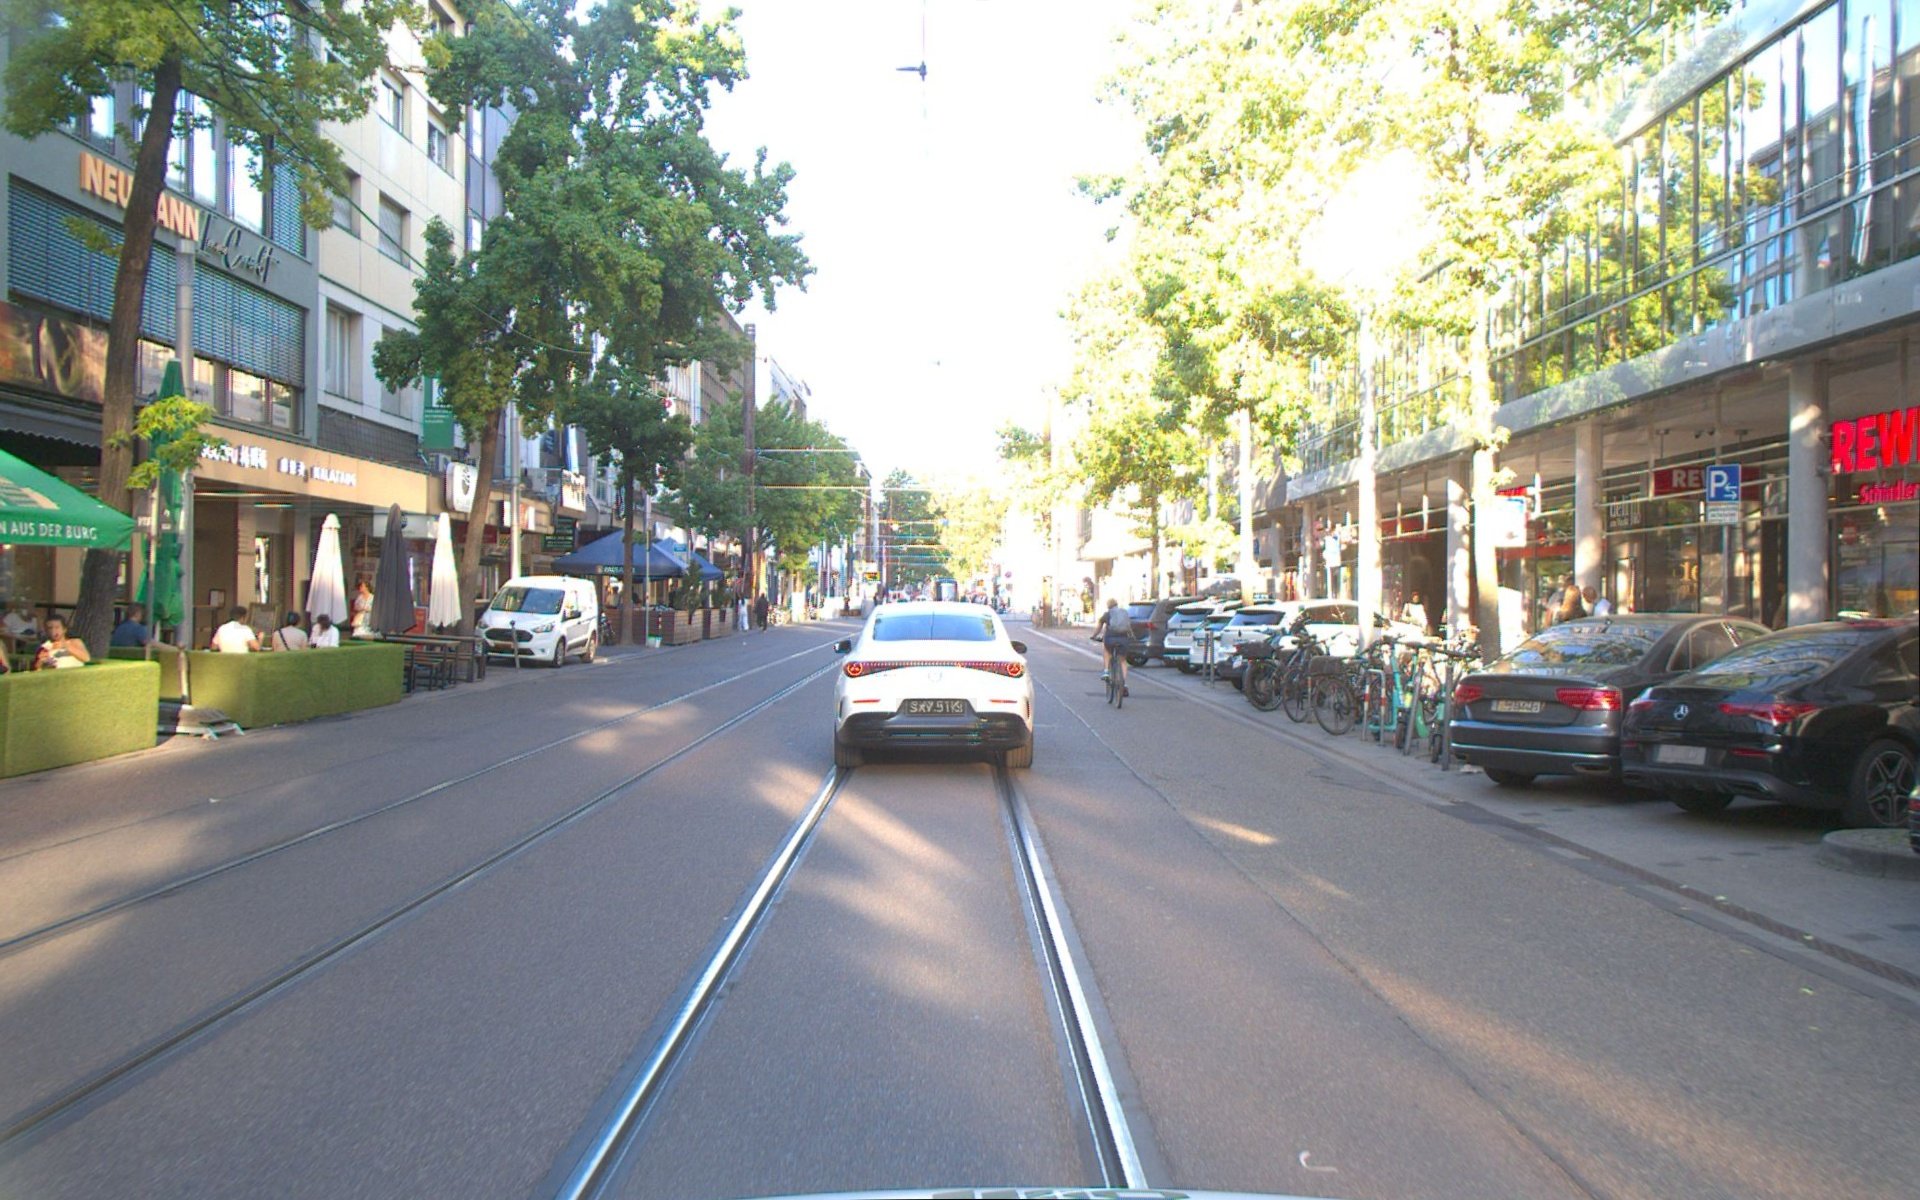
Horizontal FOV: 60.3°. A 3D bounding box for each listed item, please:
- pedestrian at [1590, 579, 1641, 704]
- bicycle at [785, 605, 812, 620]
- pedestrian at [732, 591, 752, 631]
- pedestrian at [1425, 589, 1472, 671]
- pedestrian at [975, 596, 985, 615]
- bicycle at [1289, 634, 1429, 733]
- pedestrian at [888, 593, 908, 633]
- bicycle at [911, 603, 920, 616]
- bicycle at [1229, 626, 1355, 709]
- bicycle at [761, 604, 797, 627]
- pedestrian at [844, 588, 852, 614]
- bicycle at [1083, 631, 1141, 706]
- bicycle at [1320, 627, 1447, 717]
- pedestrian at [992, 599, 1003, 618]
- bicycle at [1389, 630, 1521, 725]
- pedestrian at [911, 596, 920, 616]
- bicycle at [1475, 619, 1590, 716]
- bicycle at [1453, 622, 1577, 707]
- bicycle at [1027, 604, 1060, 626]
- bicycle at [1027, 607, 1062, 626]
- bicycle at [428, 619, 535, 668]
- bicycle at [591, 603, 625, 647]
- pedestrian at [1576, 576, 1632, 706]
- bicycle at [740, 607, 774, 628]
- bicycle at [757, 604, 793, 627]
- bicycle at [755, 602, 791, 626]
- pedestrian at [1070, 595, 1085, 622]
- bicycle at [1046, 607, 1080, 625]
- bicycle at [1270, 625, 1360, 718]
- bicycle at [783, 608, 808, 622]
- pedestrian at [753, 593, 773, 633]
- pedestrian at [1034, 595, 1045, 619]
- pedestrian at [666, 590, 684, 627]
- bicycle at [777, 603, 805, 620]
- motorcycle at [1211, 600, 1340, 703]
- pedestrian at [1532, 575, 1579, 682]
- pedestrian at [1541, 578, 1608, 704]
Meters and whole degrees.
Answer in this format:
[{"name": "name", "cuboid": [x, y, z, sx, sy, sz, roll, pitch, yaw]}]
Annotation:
[{"name": "pedestrian", "cuboid": [9.198, 0.576, 23.216, 0.506, 1.726, 0.550, 1, 0, 4]}, {"name": "bicycle", "cuboid": [-8.939, 0.671, 91.487, 1.462, 0.797, 0.344, 2, 0, 1]}, {"name": "pedestrian", "cuboid": [-8.724, 0.442, 66.079, 0.609, 1.535, 0.833, 3, 0, 0]}, {"name": "pedestrian", "cuboid": [10.119, 0.615, 34.306, 0.699, 1.652, 0.882, -1, 0, 1]}, {"name": "pedestrian", "cuboid": [1.931, 0.536, 157.874, 0.941, 1.817, 0.803, -1, 0, -1]}, {"name": "bicycle", "cuboid": [5.038, 1.030, 20.862, 1.543, 1.107, 0.860, -3, 2, -31]}, {"name": "pedestrian", "cuboid": [-2.820, 0.593, 75.733, 0.824, 1.832, 0.790, 2, 0, 0]}, {"name": "bicycle", "cuboid": [-4.154, 0.910, 154.340, 0.784, 1.162, 2.256, 2, 0, -2]}, {"name": "bicycle", "cuboid": [5.036, 1.007, 25.072, 1.870, 1.139, 0.661, -2, -1, -30]}, {"name": "bicycle", "cuboid": [-9.185, 0.790, 83.996, 1.810, 1.096, 0.377, 2, 0, -5]}, {"name": "pedestrian", "cuboid": [-8.260, 0.081, 122.210, 0.560, 1.963, 0.540, 0, 0, -5]}, {"name": "bicycle", "cuboid": [2.280, 0.999, 24.659, 0.703, 1.012, 2.060, 2, 0, 8]}, {"name": "bicycle", "cuboid": [5.847, 0.979, 22.836, 1.669, 1.125, 0.626, -3, 0, -27]}, {"name": "pedestrian", "cuboid": [3.559, 0.785, 157.389, 0.941, 1.817, 0.803, -1, 0, -1]}, {"name": "bicycle", "cuboid": [6.509, 0.999, 21.747, 1.652, 1.093, 0.725, -3, 2, -31]}, {"name": "pedestrian", "cuboid": [-4.144, 0.583, 154.352, 0.784, 1.813, 0.848, 2, 0, -2]}, {"name": "bicycle", "cuboid": [7.714, 0.893, 22.287, 1.253, 1.193, 0.859, -3, 2, -31]}, {"name": "bicycle", "cuboid": [8.131, 0.925, 24.218, 1.751, 1.125, 0.627, -3, 0, -26]}, {"name": "bicycle", "cuboid": [5.071, 0.902, 100.188, 1.874, 1.304, 0.608, -1, 0, -12]}, {"name": "bicycle", "cuboid": [5.288, 1.022, 103.174, 2.076, 1.115, 0.608, 1, -1, -12]}, {"name": "bicycle", "cuboid": [-9.293, 0.847, 32.197, 0.821, 0.880, 1.852, 3, 0, 38]}, {"name": "bicycle", "cuboid": [-9.942, 0.685, 46.726, 0.687, 1.140, 2.076, 3, 0, -18]}, {"name": "pedestrian", "cuboid": [8.998, 0.569, 23.121, 0.512, 1.781, 0.559, -2, 0, 1]}, {"name": "bicycle", "cuboid": [-9.797, 0.852, 79.701, 1.562, 0.947, 0.377, 2, 0, 6]}, {"name": "bicycle", "cuboid": [-9.201, 0.783, 82.395, 1.754, 1.096, 0.377, 2, 0, -5]}, {"name": "bicycle", "cuboid": [-9.800, 0.739, 86.522, 1.808, 1.161, 0.377, 2, 0, 1]}, {"name": "pedestrian", "cuboid": [7.814, 0.567, 109.804, 0.881, 1.775, 0.689, -3, 0, -1]}, {"name": "bicycle", "cuboid": [6.383, 1.000, 102.517, 2.077, 1.115, 0.608, 0, -1, -14]}, {"name": "bicycle", "cuboid": [4.977, 0.987, 23.110, 0.472, 1.183, 1.687, -3, 0, 39]}, {"name": "bicycle", "cuboid": [-9.971, 0.917, 100.323, 1.462, 0.797, 0.344, 2, 0, 1]}, {"name": "pedestrian", "cuboid": [-7.922, 0.515, 66.583, 0.609, 1.577, 0.852, 3, 0, 0]}, {"name": "pedestrian", "cuboid": [6.056, 0.551, 125.648, 0.733, 1.817, 0.766, -1, 0, -1]}, {"name": "pedestrian", "cuboid": [-12.128, 0.352, 70.479, 0.585, 1.559, 0.671, 2, 0, 0]}, {"name": "bicycle", "cuboid": [-9.182, 0.635, 90.127, 1.462, 0.856, 0.344, 2, 0, 1]}, {"name": "motorcycle", "cuboid": [5.103, 0.808, 26.628, 2.302, 1.536, 0.845, -2, -1, -44]}, {"name": "pedestrian", "cuboid": [10.101, 0.475, 28.051, 0.545, 1.781, 0.525, -2, 0, 0]}, {"name": "pedestrian", "cuboid": [8.506, 0.564, 22.892, 0.667, 1.726, 0.548, 1, 0, -13]}]
